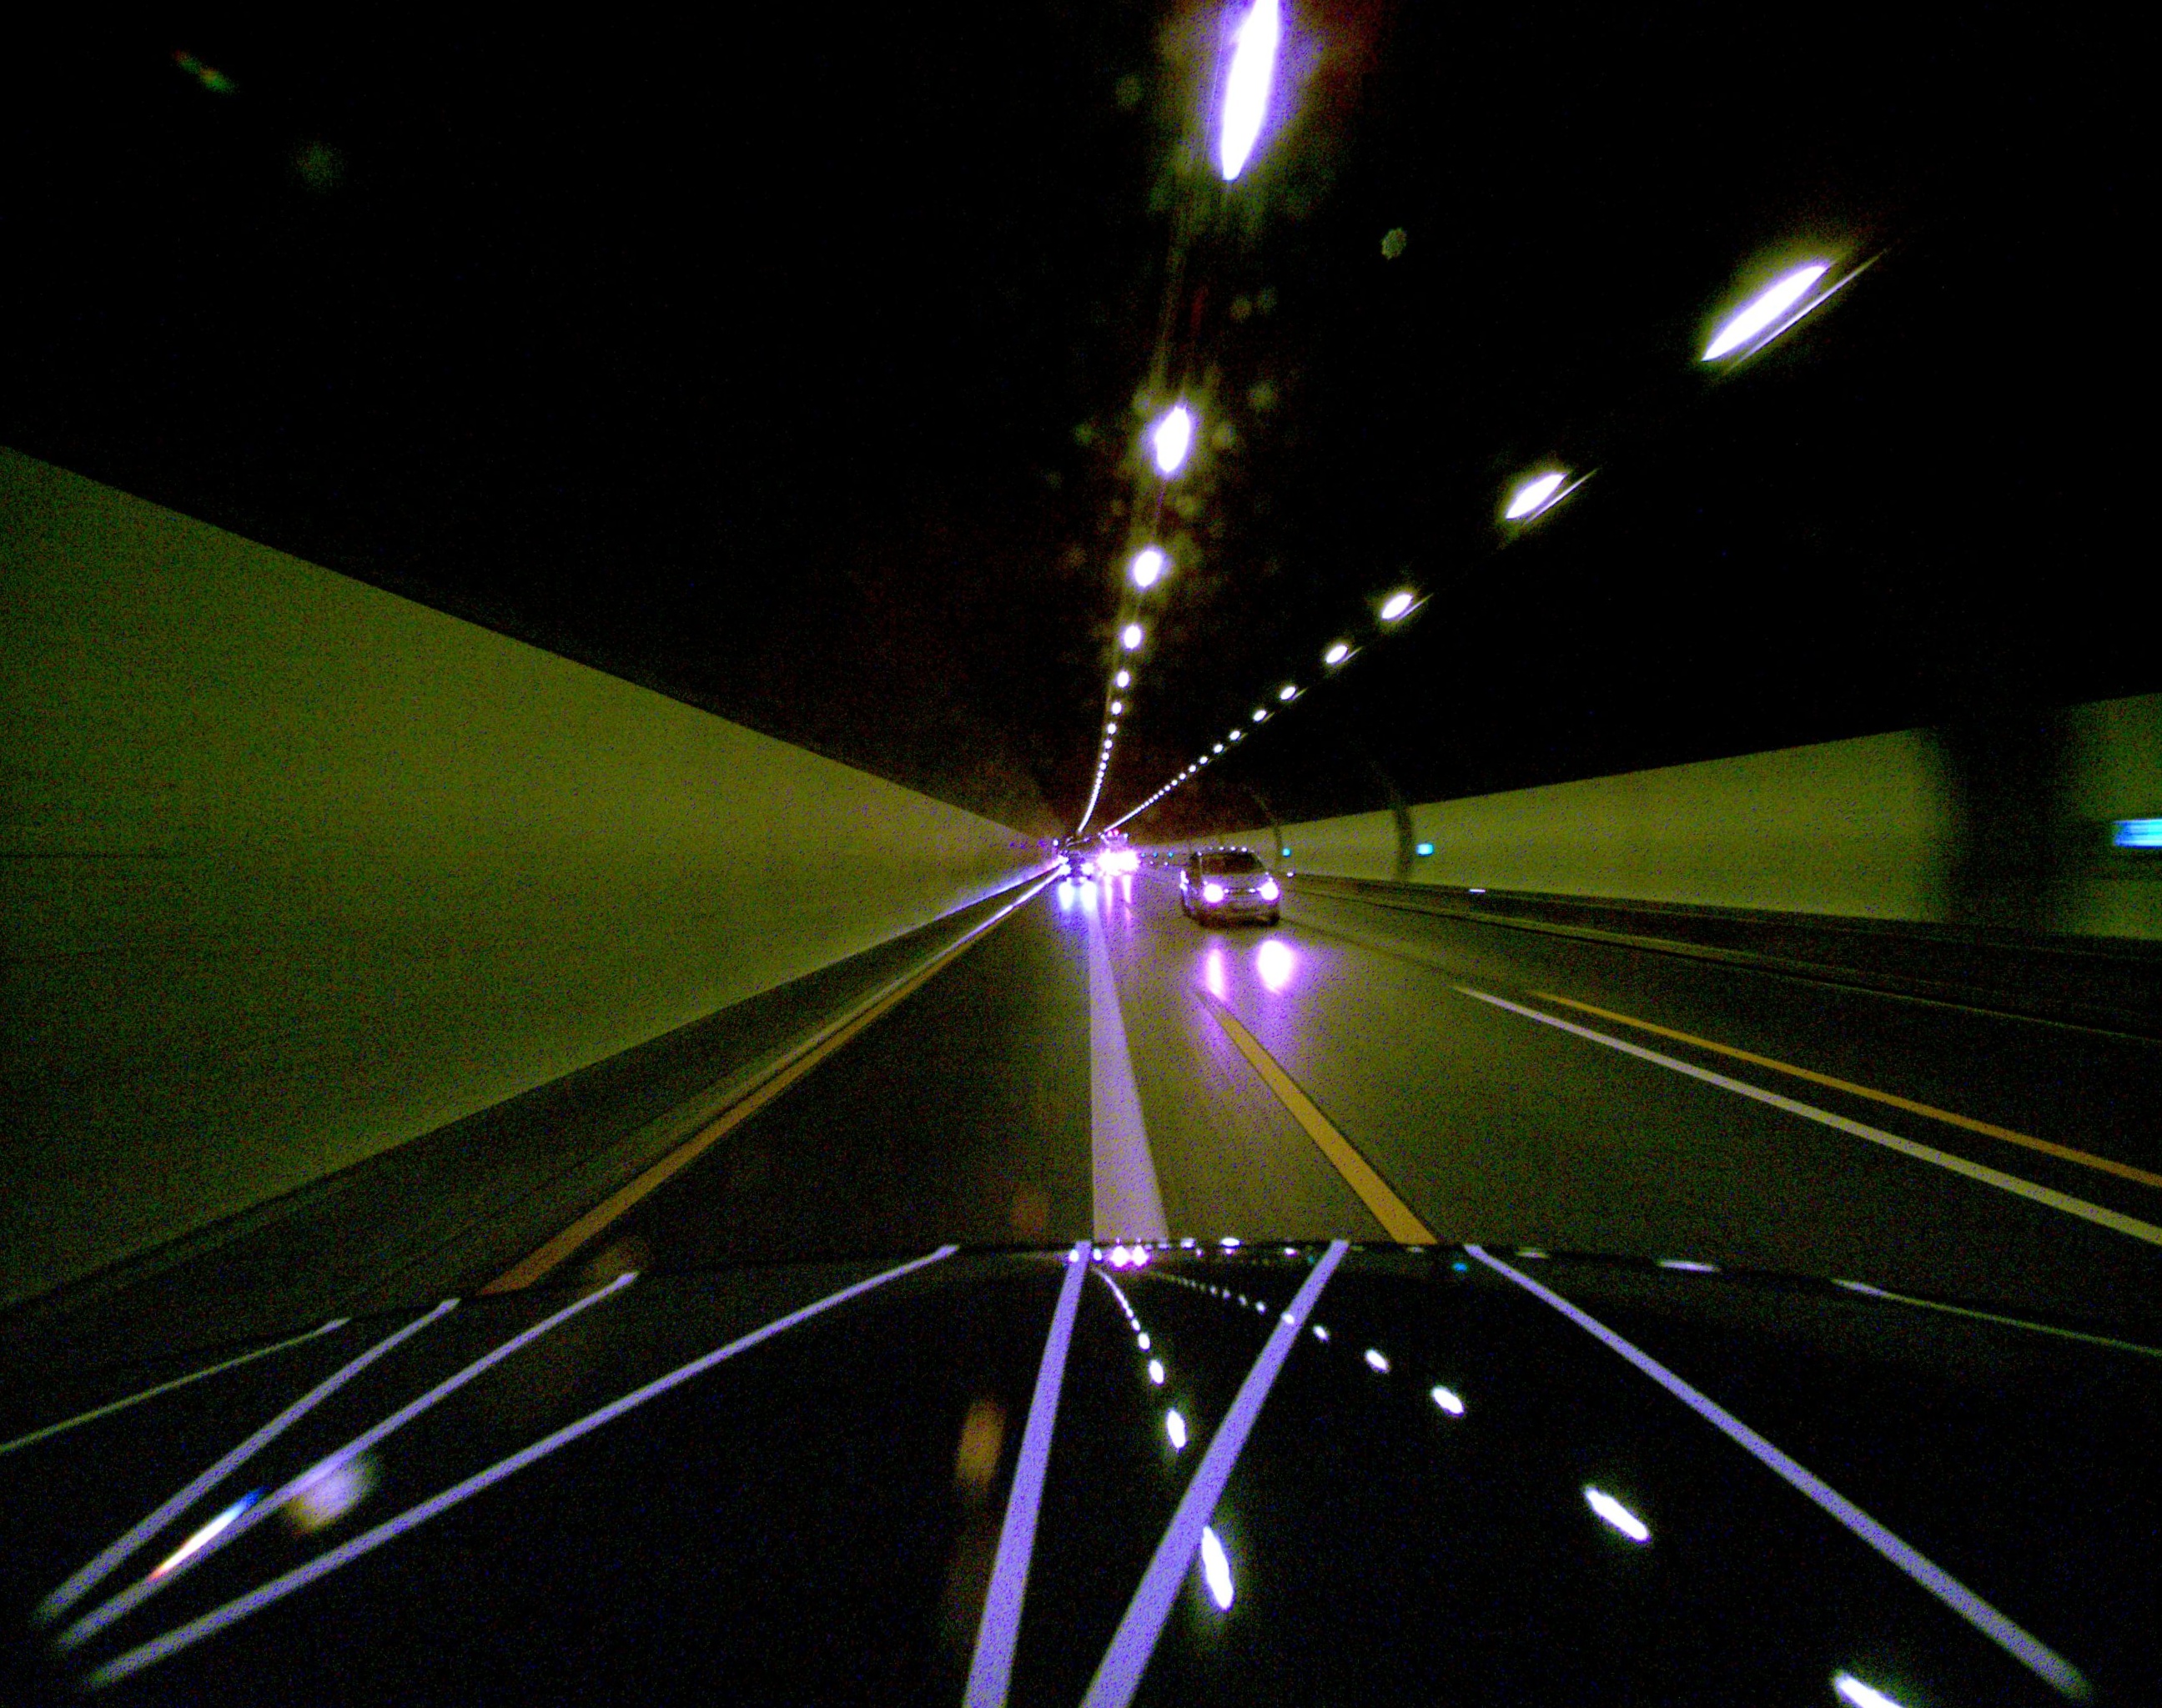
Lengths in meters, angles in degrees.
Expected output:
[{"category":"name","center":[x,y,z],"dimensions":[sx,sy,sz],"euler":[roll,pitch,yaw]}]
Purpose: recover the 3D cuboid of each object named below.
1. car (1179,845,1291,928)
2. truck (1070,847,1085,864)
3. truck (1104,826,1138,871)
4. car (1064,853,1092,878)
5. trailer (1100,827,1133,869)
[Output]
[{"category":"car","center":[3.324,0.622,17.153],"dimensions":[1.766,1.563,4.097],"euler":[-2,1,2]},{"category":"truck","center":[-0.632,0.337,128.615],"dimensions":[2.151,2.609,9.906],"euler":[-2,-1,-2]},{"category":"truck","center":[3.200,-0.464,61.170],"dimensions":[2.374,3.328,4.719],"euler":[-4,1,2]},{"category":"car","center":[-0.177,0.737,50.376],"dimensions":[1.728,1.474,4.000],"euler":[-2,0,0]},{"category":"trailer","center":[3.049,-0.502,67.800],"dimensions":[2.374,3.328,12.077],"euler":[-1,0,0]}]
